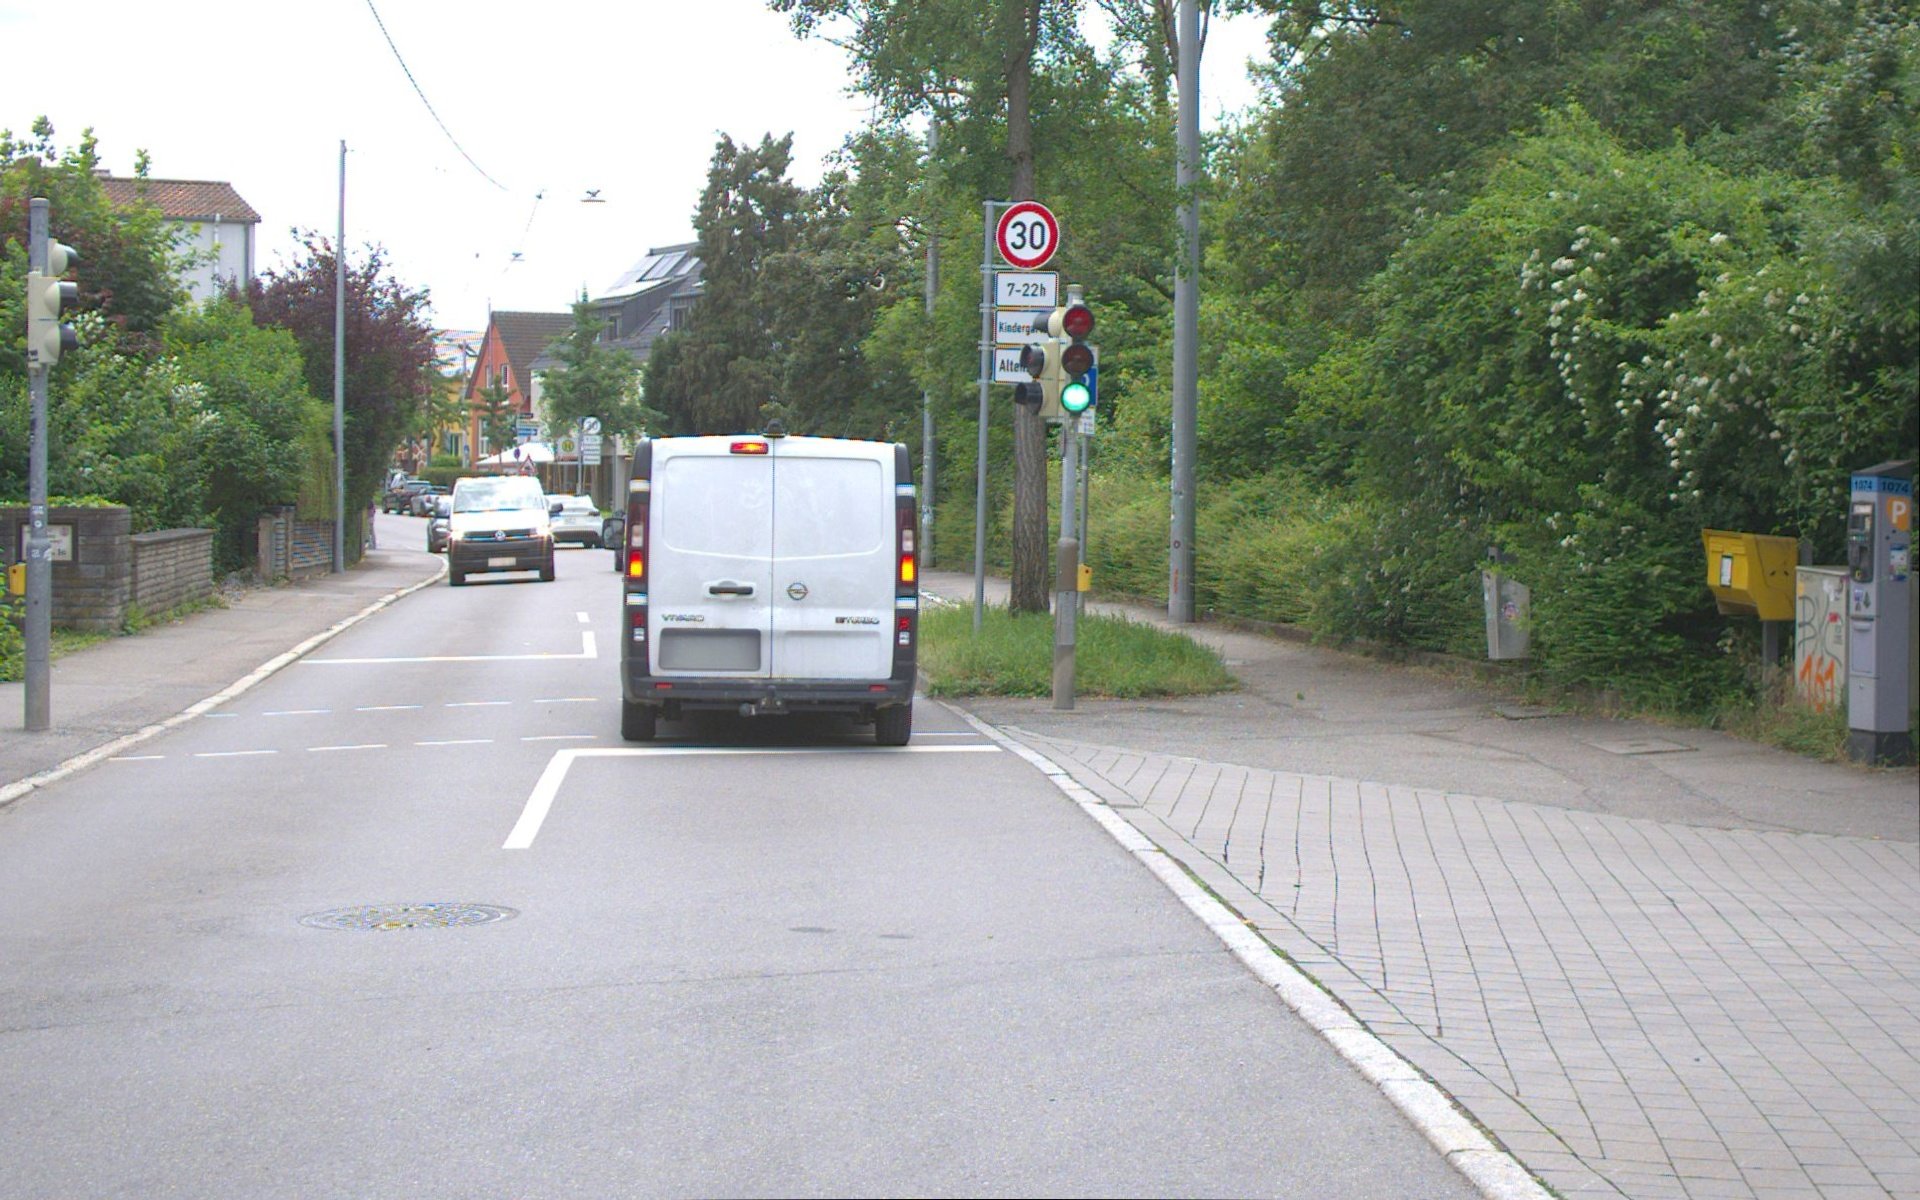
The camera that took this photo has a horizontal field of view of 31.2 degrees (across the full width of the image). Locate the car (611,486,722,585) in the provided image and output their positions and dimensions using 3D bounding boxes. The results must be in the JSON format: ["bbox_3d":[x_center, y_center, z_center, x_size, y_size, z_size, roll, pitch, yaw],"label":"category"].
[{"bbox_3d":[-5.844,-1.290,68.833,1.896,1.853,4.404,1,1,-1],"label":"car"}]

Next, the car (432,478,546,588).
[{"bbox_3d":[-8.606,-1.274,63.162,1.867,1.904,5.117,-1,2,-6],"label":"car"}]

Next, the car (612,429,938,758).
[{"bbox_3d":[-1.345,-0.081,23.111,1.929,1.957,4.403,1,1,-6],"label":"car"}]

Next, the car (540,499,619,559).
[{"bbox_3d":[-11.381,-2.116,102.654,1.824,1.722,4.001,1,1,-14],"label":"car"}]

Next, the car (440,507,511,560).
[{"bbox_3d":[-14.441,-1.989,102.401,1.882,1.507,4.114,-1,2,-11],"label":"car"}]
